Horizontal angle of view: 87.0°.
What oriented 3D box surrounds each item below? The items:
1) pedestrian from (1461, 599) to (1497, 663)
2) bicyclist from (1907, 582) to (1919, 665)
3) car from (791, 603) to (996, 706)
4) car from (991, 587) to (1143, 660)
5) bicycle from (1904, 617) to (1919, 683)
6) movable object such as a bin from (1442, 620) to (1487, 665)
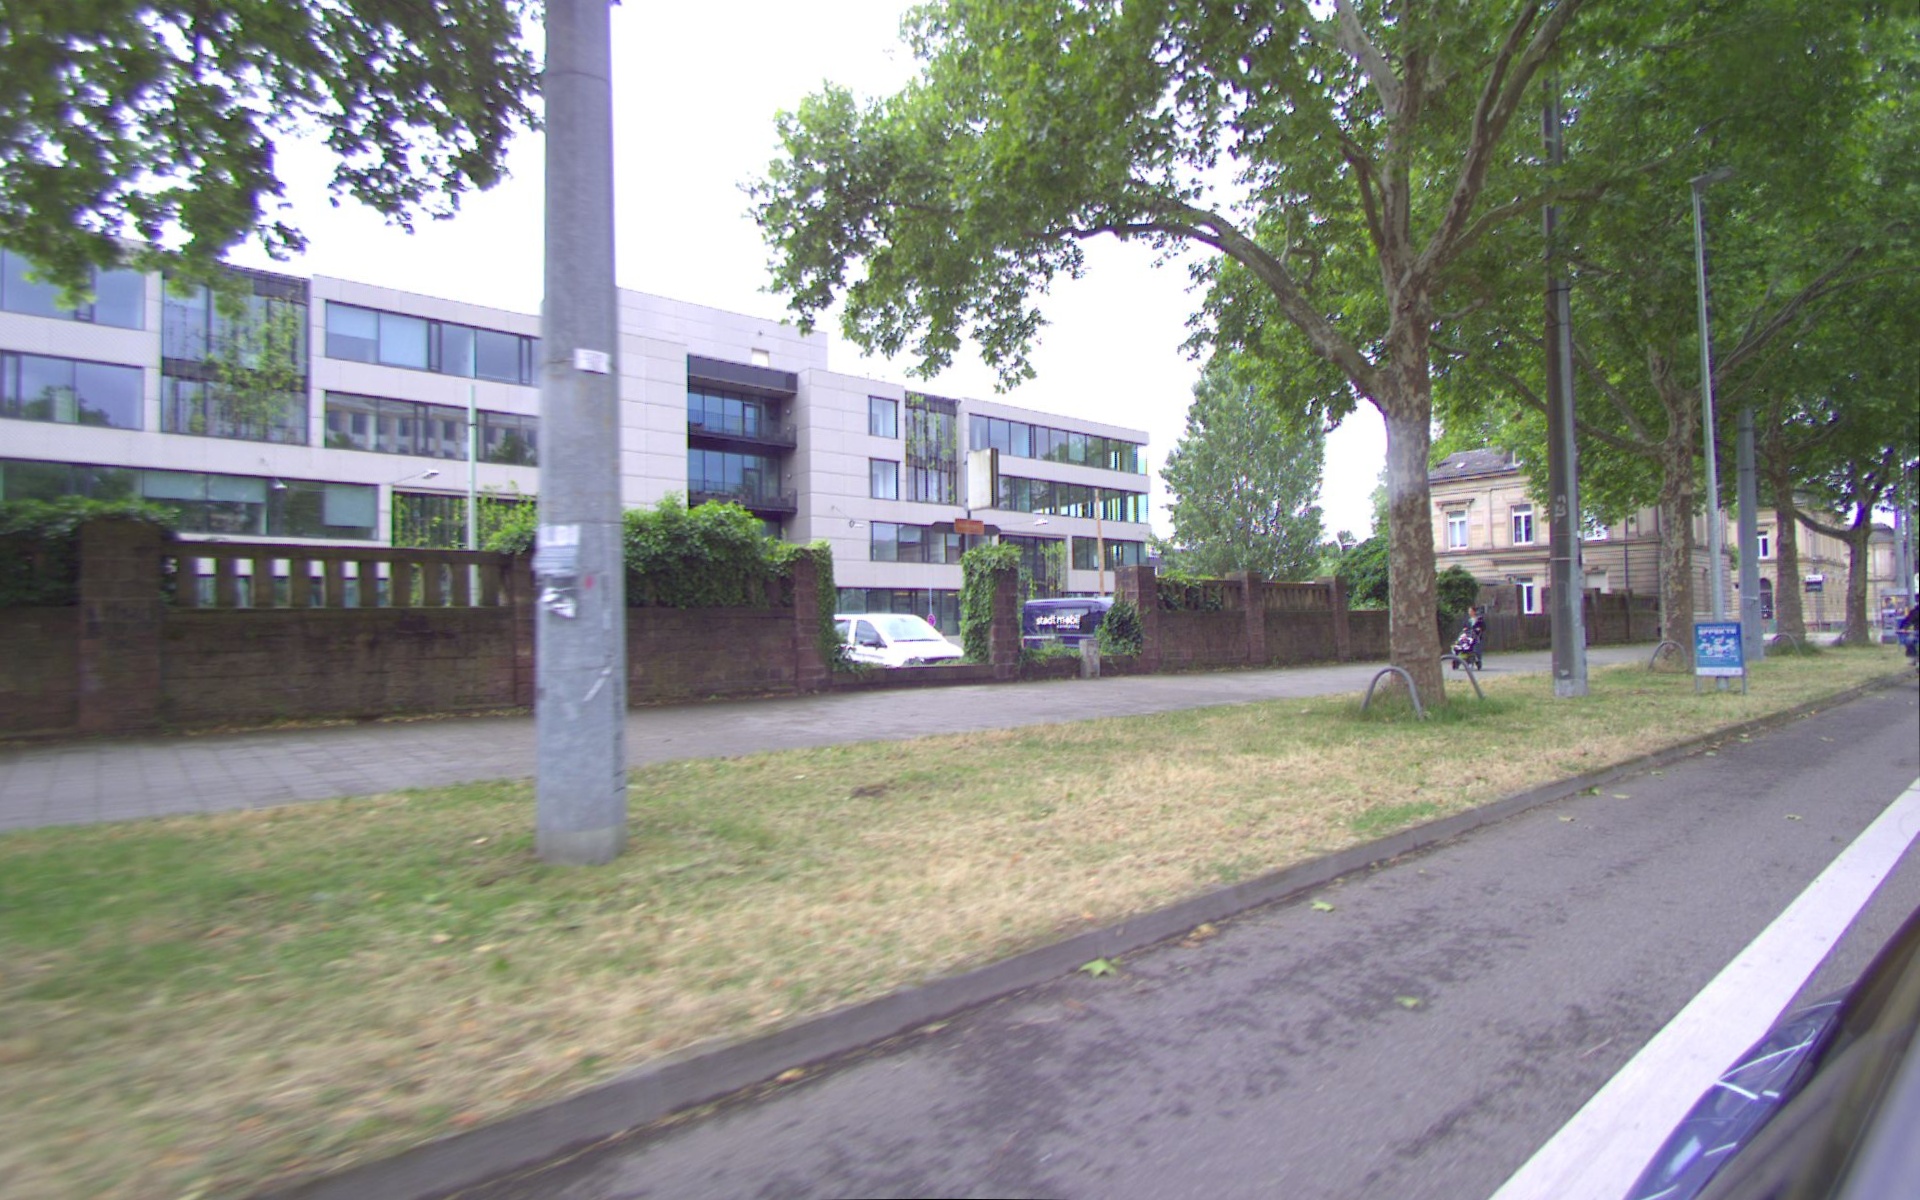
[{"bbox_3d":[13.578,0.807,26.464,0.657,1.653,0.560,0,-2,-35],"label":"pedestrian"},{"bbox_3d":[18.408,0.440,19.134,0.653,1.550,0.641,0,-2,-43],"label":"bicyclist"},{"bbox_3d":[-1.603,1.157,22.721,1.966,2.039,4.880,0,-1,-43],"label":"car"},{"bbox_3d":[3.156,0.715,30.647,1.966,2.039,4.351,0,-1,-43],"label":"car"},{"bbox_3d":[18.355,0.916,19.054,2.244,1.164,0.653,0,-2,-43],"label":"bicycle"},{"bbox_3d":[12.914,1.085,25.921,0.995,1.127,0.613,1,-2,-35],"label":"movable object such as a bin"}]
